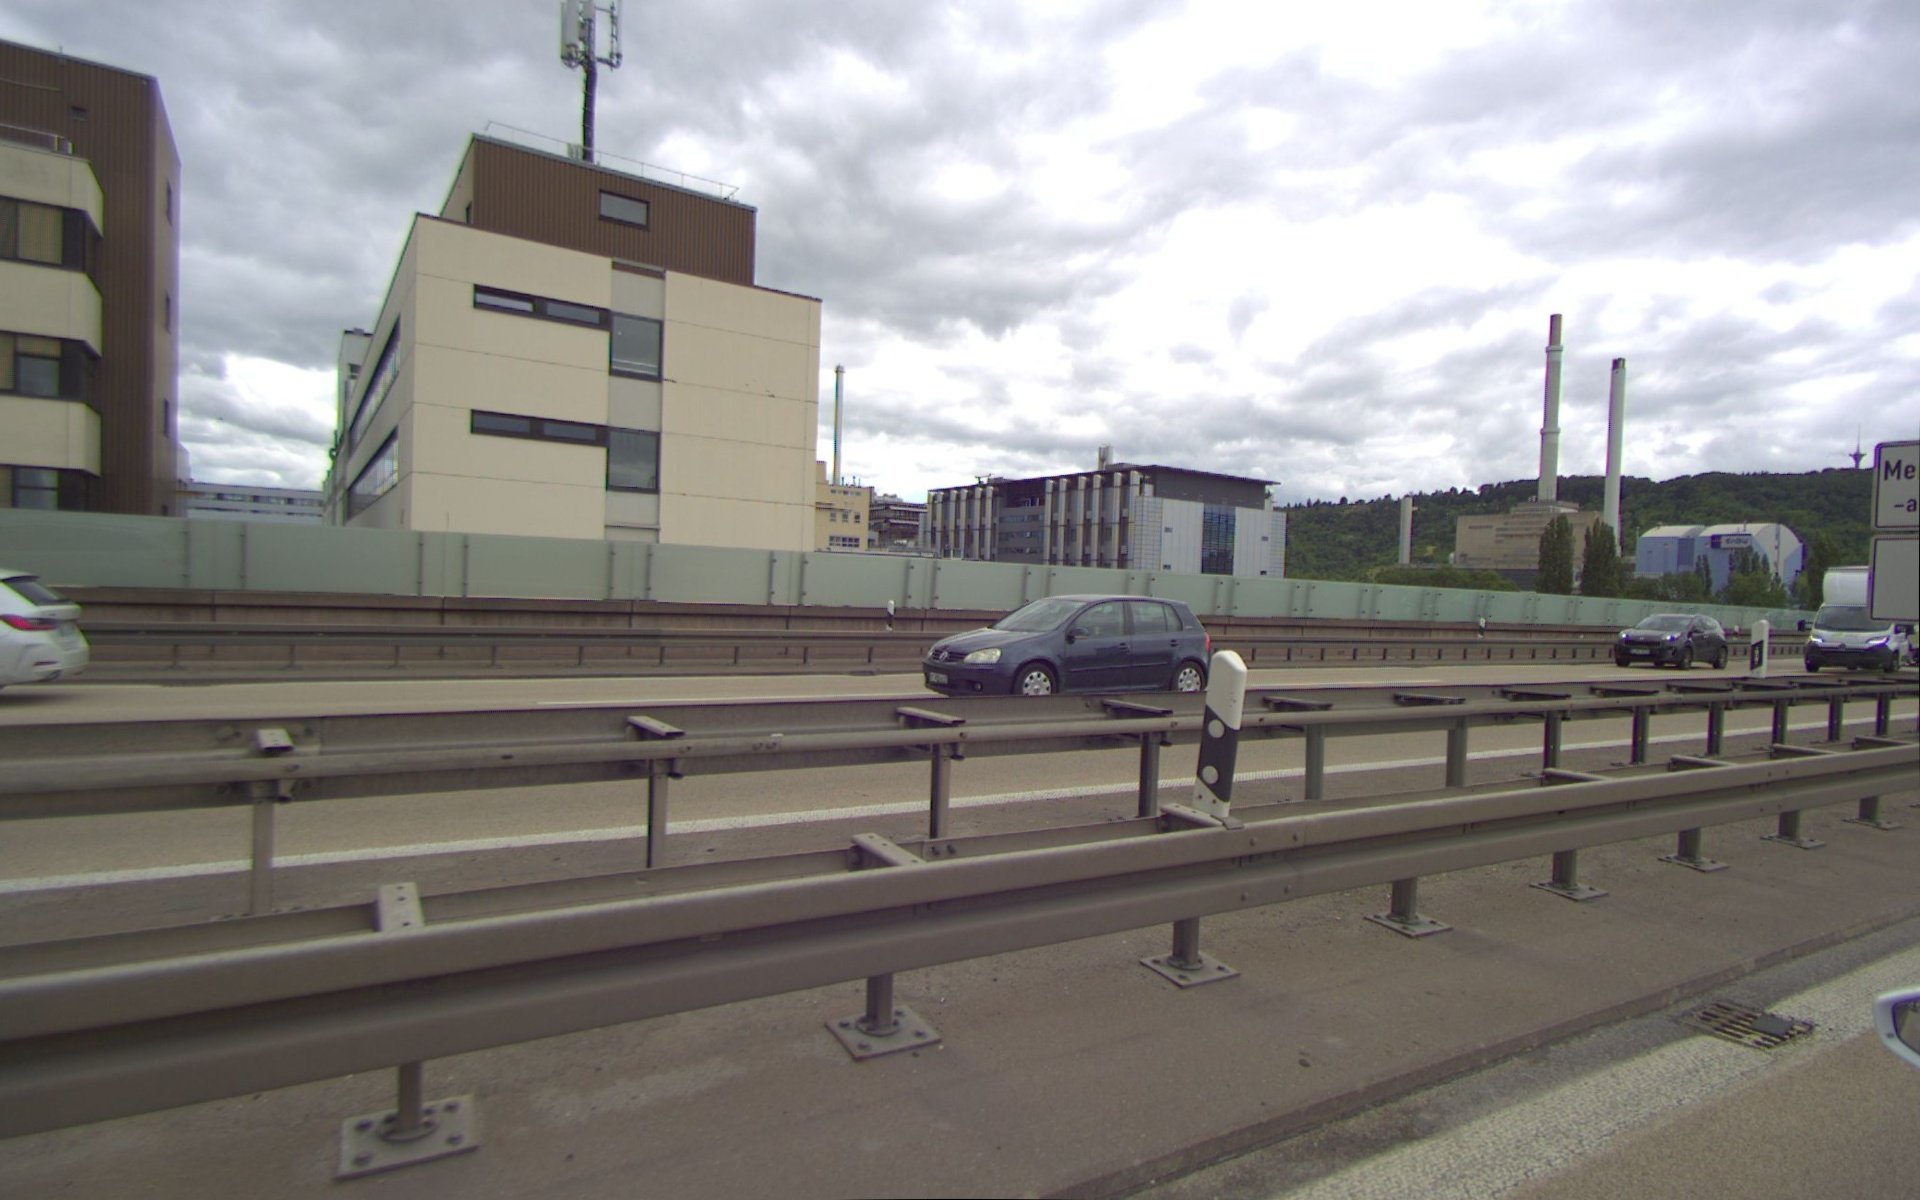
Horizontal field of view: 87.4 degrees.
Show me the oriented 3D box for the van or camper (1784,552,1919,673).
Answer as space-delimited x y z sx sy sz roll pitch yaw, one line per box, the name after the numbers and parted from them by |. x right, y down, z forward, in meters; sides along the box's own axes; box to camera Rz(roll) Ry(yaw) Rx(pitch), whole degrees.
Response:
28.435 0.449 31.447 6.888 3.432 2.388 2 0 -36 | van or camper

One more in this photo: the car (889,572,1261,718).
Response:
1.629 0.567 13.409 4.763 1.633 2.010 2 -1 -33 | car

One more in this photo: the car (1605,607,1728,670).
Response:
21.607 1.138 30.683 4.326 1.771 1.742 1 0 -36 | car

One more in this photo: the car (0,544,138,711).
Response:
-11.254 0.226 9.760 4.759 1.633 1.908 2 -1 -31 | car
